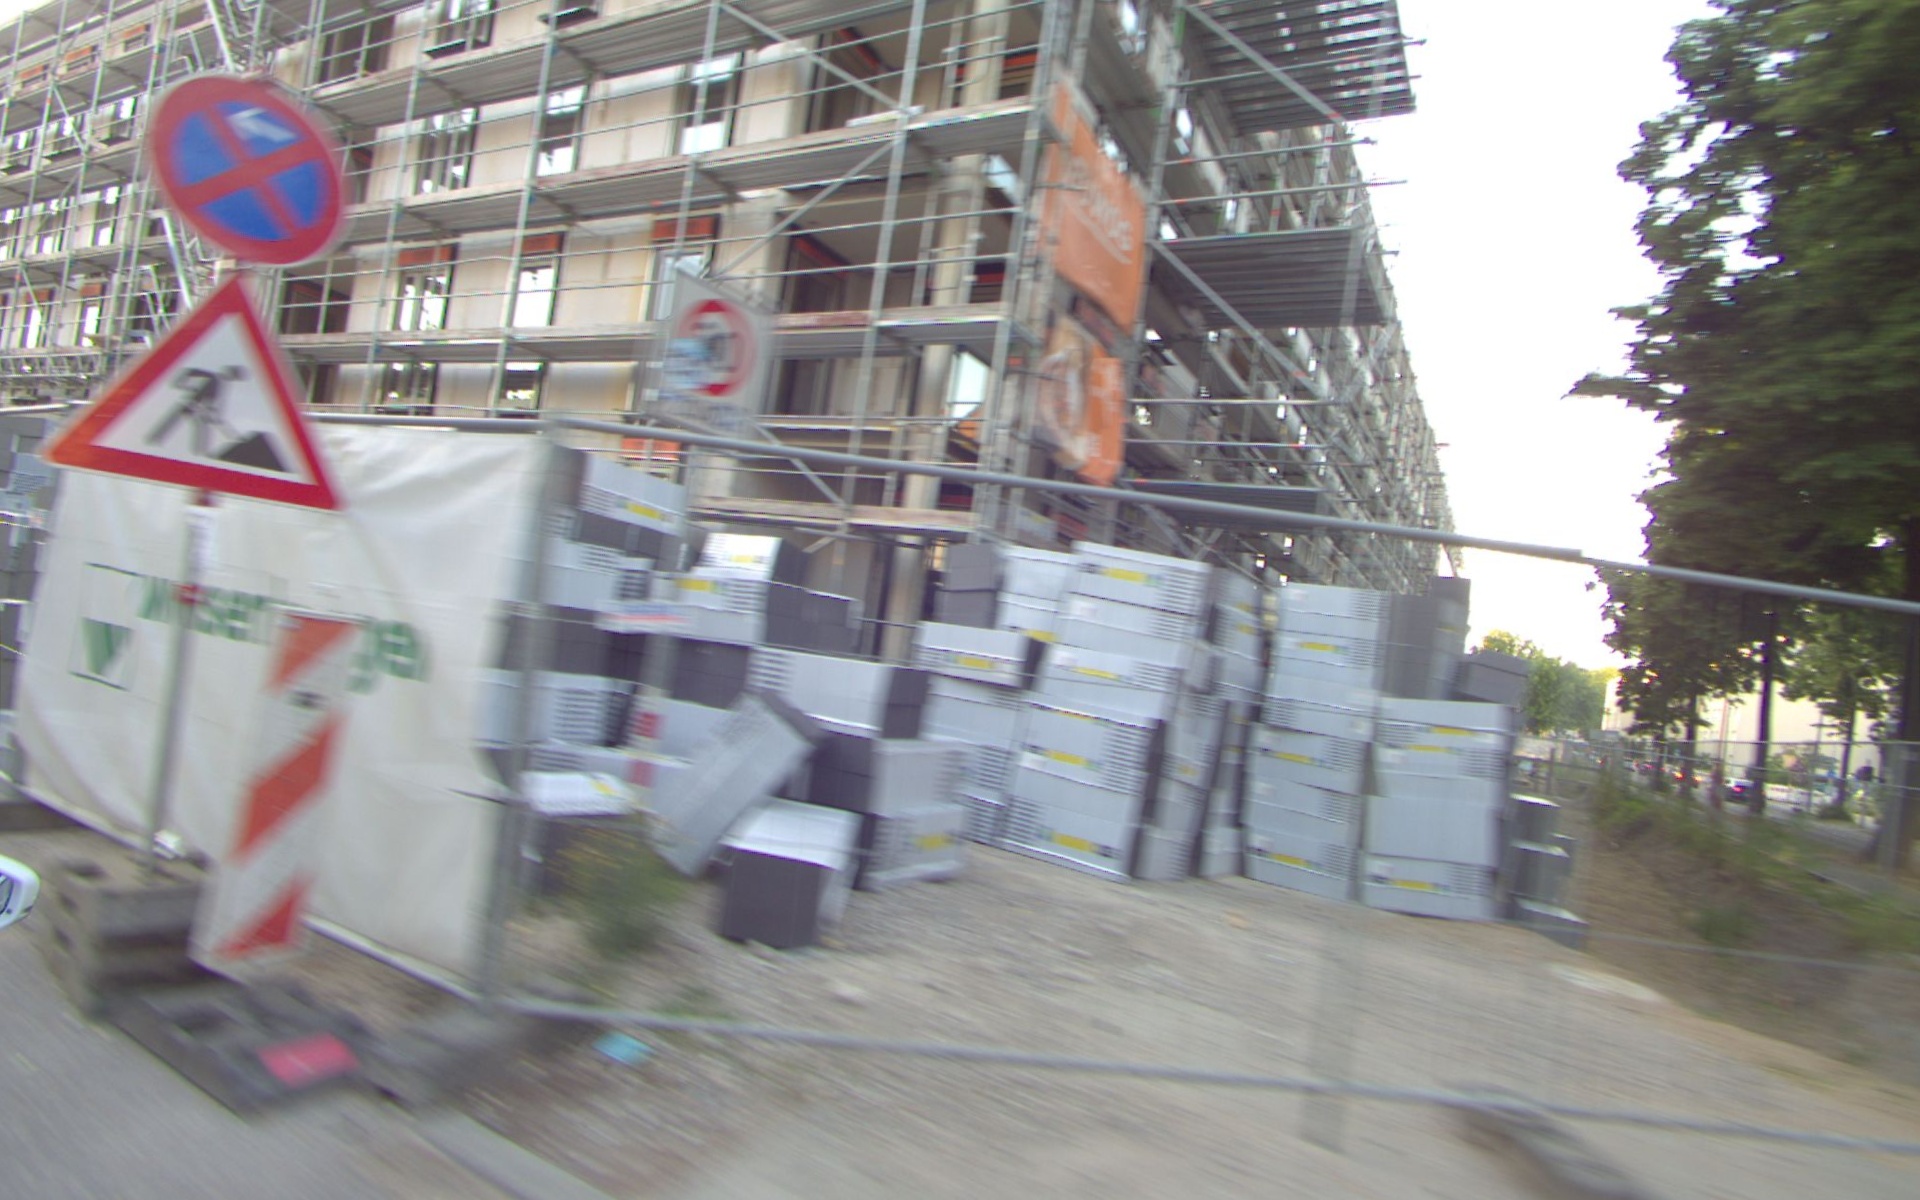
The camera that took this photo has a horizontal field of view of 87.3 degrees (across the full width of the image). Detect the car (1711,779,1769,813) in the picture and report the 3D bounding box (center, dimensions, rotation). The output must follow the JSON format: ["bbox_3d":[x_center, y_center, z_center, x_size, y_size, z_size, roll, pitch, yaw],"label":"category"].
[{"bbox_3d":[46.103,11.549,59.565,1.920,1.341,3.999,9,-2,29],"label":"car"}]
